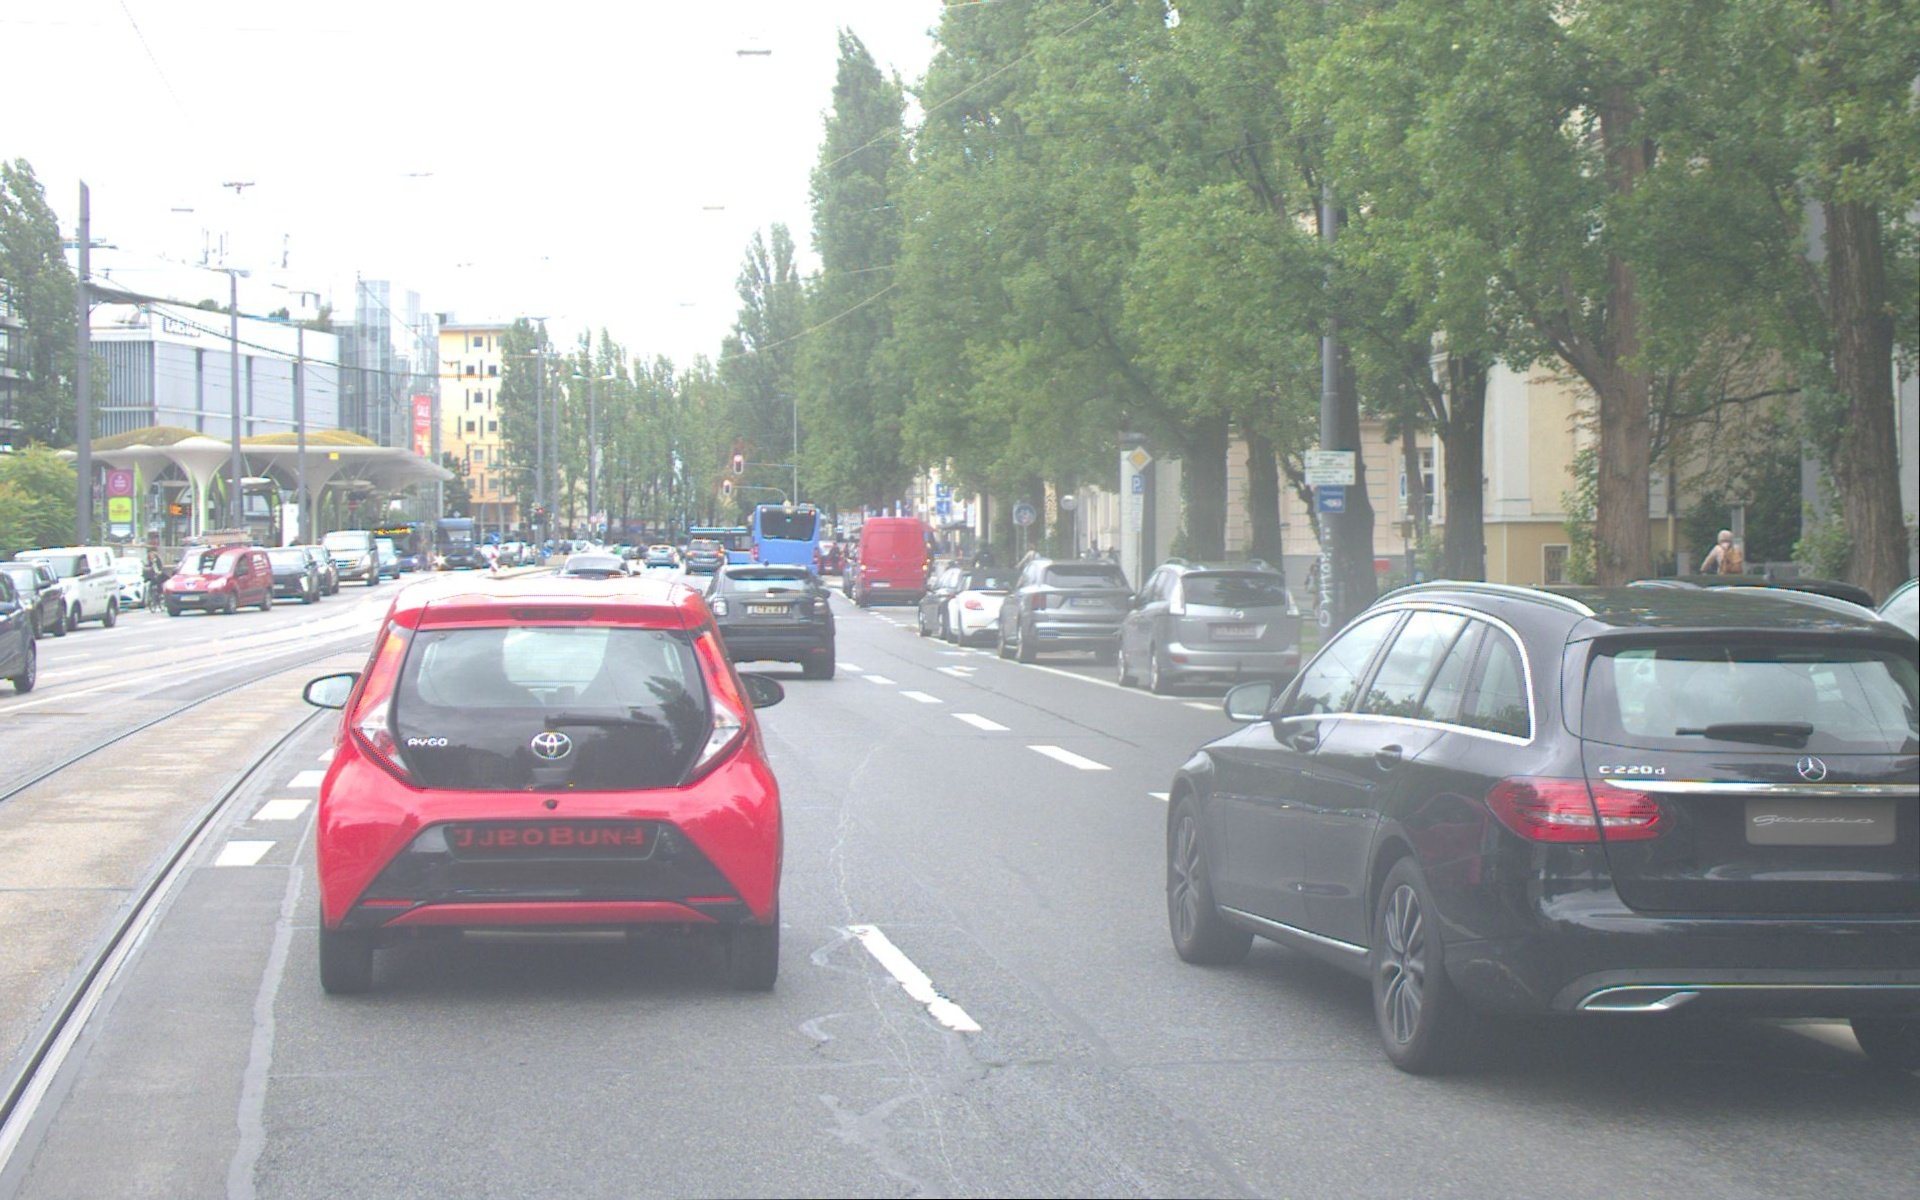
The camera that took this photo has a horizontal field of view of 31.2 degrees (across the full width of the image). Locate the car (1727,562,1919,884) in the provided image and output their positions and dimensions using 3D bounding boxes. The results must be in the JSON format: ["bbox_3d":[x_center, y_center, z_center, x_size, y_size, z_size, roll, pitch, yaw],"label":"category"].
[{"bbox_3d":[5.627,0.616,18.119,1.721,1.607,4.472,0,1,-6],"label":"car"}]

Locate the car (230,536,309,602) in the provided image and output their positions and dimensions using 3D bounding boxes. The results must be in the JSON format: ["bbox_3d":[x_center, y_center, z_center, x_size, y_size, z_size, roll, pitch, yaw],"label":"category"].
[{"bbox_3d":[-19.962,-0.910,99.510,1.799,1.782,4.520,-2,1,-7],"label":"car"}]

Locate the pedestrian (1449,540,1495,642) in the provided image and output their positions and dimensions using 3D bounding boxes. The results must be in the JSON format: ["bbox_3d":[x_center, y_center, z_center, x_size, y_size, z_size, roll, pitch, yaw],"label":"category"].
[{"bbox_3d":[8.919,-0.161,59.873,0.591,1.732,0.824,0,2,-5],"label":"pedestrian"}]

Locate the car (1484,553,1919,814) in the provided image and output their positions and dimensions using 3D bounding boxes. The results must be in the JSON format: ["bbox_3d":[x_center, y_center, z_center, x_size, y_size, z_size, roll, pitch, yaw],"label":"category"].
[{"bbox_3d":[5.041,0.487,23.584,1.799,1.607,4.306,0,1,-6],"label":"car"}]

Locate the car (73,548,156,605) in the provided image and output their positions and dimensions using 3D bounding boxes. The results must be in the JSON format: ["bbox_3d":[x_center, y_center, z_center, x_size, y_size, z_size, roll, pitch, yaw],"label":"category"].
[{"bbox_3d":[-24.352,-0.685,99.172,1.799,1.525,4.520,-2,1,-8],"label":"car"}]

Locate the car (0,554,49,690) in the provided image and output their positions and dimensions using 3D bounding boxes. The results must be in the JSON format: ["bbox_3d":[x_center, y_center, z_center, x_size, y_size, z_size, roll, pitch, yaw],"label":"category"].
[{"bbox_3d":[-11.736,0.254,39.356,1.799,1.517,4.355,-1,0,-5],"label":"car"}]

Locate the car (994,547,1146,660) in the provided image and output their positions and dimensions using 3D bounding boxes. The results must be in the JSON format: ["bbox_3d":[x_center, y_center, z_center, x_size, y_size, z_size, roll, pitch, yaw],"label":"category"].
[{"bbox_3d":[1.729,0.018,55.716,1.799,1.737,4.701,0,1,-6],"label":"car"}]

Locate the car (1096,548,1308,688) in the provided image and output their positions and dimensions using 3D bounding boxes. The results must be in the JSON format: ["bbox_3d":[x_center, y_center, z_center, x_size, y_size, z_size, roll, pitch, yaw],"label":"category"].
[{"bbox_3d":[2.905,0.174,42.251,1.799,1.607,4.548,0,1,-6],"label":"car"}]

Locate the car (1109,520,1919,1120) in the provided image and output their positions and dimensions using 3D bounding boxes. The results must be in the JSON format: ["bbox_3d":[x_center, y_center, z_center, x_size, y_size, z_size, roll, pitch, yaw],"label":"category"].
[{"bbox_3d":[1.916,0.524,11.529,1.863,1.544,4.705,-1,2,-10],"label":"car"}]

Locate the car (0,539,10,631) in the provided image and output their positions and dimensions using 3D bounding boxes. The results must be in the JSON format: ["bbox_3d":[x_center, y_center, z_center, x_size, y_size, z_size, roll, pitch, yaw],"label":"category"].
[{"bbox_3d":[-19.410,-0.235,65.250,1.799,1.782,4.520,-2,1,-5],"label":"car"}]

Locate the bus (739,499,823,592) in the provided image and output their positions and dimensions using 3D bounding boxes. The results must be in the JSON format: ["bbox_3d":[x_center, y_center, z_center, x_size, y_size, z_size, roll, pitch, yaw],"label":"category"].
[{"bbox_3d":[-7.239,-2.257,137.779,2.905,3.384,10.809,0,3,-5],"label":"bus"}]

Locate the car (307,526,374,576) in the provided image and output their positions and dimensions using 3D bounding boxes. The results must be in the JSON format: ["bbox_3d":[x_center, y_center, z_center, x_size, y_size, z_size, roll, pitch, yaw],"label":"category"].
[{"bbox_3d":[-21.624,-1.710,120.182,1.799,1.659,4.520,-2,1,-4],"label":"car"}]

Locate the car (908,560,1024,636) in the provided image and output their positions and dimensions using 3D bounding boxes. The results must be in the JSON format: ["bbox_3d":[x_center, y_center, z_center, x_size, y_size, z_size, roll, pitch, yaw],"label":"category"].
[{"bbox_3d":[0.086,-0.065,71.434,1.799,1.503,4.451,0,1,-8],"label":"car"}]

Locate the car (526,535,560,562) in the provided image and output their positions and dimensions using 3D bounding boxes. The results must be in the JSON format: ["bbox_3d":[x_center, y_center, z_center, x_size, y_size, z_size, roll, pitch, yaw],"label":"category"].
[{"bbox_3d":[-23.524,-2.894,193.866,1.780,1.481,4.001,0,1,-5],"label":"car"}]

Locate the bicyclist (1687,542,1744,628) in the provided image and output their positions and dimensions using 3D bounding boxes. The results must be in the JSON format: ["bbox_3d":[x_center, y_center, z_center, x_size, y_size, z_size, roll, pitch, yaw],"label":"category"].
[{"bbox_3d":[11.644,-0.231,52.987,0.660,1.310,0.706,-1,1,-7],"label":"bicyclist"}]

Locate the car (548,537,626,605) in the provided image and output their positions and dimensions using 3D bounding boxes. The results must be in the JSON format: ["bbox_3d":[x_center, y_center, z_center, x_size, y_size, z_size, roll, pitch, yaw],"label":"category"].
[{"bbox_3d":[-8.650,-0.697,80.021,1.735,1.544,4.577,0,1,-5],"label":"car"}]

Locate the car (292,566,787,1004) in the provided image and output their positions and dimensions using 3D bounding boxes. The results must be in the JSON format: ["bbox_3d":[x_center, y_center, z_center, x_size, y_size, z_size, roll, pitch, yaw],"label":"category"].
[{"bbox_3d":[-1.631,0.612,13.221,1.628,1.435,3.377,1,1,-8],"label":"car"}]

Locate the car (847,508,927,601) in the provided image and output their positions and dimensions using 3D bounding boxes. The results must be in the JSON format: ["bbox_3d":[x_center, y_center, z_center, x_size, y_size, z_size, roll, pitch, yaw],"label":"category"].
[{"bbox_3d":[-2.167,-1.359,100.736,1.993,2.565,4.681,0,3,-5],"label":"car"}]

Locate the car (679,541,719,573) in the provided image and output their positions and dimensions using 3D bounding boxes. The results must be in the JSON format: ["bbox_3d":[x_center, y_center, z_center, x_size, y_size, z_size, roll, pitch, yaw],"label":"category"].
[{"bbox_3d":[-12.015,-1.992,158.325,1.780,1.481,4.001,0,1,-5],"label":"car"}]

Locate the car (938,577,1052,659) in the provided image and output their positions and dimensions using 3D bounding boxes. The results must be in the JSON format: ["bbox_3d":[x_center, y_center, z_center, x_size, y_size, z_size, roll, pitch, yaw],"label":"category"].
[{"bbox_3d":[0.643,0.315,66.009,1.799,1.503,4.001,0,1,-5],"label":"car"}]

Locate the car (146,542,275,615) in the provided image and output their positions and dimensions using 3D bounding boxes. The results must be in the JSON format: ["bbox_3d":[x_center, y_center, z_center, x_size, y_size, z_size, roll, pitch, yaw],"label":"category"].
[{"bbox_3d":[-19.750,-0.593,90.753,1.800,1.782,4.518,-2,1,8],"label":"car"}]

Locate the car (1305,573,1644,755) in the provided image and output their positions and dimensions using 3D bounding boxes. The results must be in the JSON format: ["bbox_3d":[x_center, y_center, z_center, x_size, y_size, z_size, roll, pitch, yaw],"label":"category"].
[{"bbox_3d":[4.304,0.485,29.460,1.799,1.394,4.383,-1,1,-6],"label":"car"}]

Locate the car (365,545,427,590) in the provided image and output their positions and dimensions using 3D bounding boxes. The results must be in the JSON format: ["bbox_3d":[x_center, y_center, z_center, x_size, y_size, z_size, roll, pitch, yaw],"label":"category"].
[{"bbox_3d":[-22.037,-1.271,134.454,1.799,1.659,4.519,-2,1,-2],"label":"car"}]

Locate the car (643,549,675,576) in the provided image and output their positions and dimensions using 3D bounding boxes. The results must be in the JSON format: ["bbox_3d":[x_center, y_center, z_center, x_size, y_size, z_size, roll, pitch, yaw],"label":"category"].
[{"bbox_3d":[-19.409,-2.413,221.608,1.804,1.590,4.000,0,-2,-1],"label":"car"}]

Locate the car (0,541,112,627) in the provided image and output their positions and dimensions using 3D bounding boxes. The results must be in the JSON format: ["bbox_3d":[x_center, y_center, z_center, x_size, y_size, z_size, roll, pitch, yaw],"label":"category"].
[{"bbox_3d":[-20.822,-0.385,79.123,1.799,1.855,4.631,-2,1,-6],"label":"car"}]

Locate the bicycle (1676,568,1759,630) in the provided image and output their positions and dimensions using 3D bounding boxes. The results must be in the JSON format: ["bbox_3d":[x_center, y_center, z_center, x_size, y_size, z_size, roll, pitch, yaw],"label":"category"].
[{"bbox_3d":[11.652,-0.023,52.915,0.652,0.920,1.903,-1,1,-7],"label":"bicycle"}]

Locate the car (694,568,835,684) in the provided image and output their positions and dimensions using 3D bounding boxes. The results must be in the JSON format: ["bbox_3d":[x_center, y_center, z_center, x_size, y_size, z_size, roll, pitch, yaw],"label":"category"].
[{"bbox_3d":[-2.692,0.315,46.559,1.780,1.481,4.001,0,1,-5],"label":"car"}]
